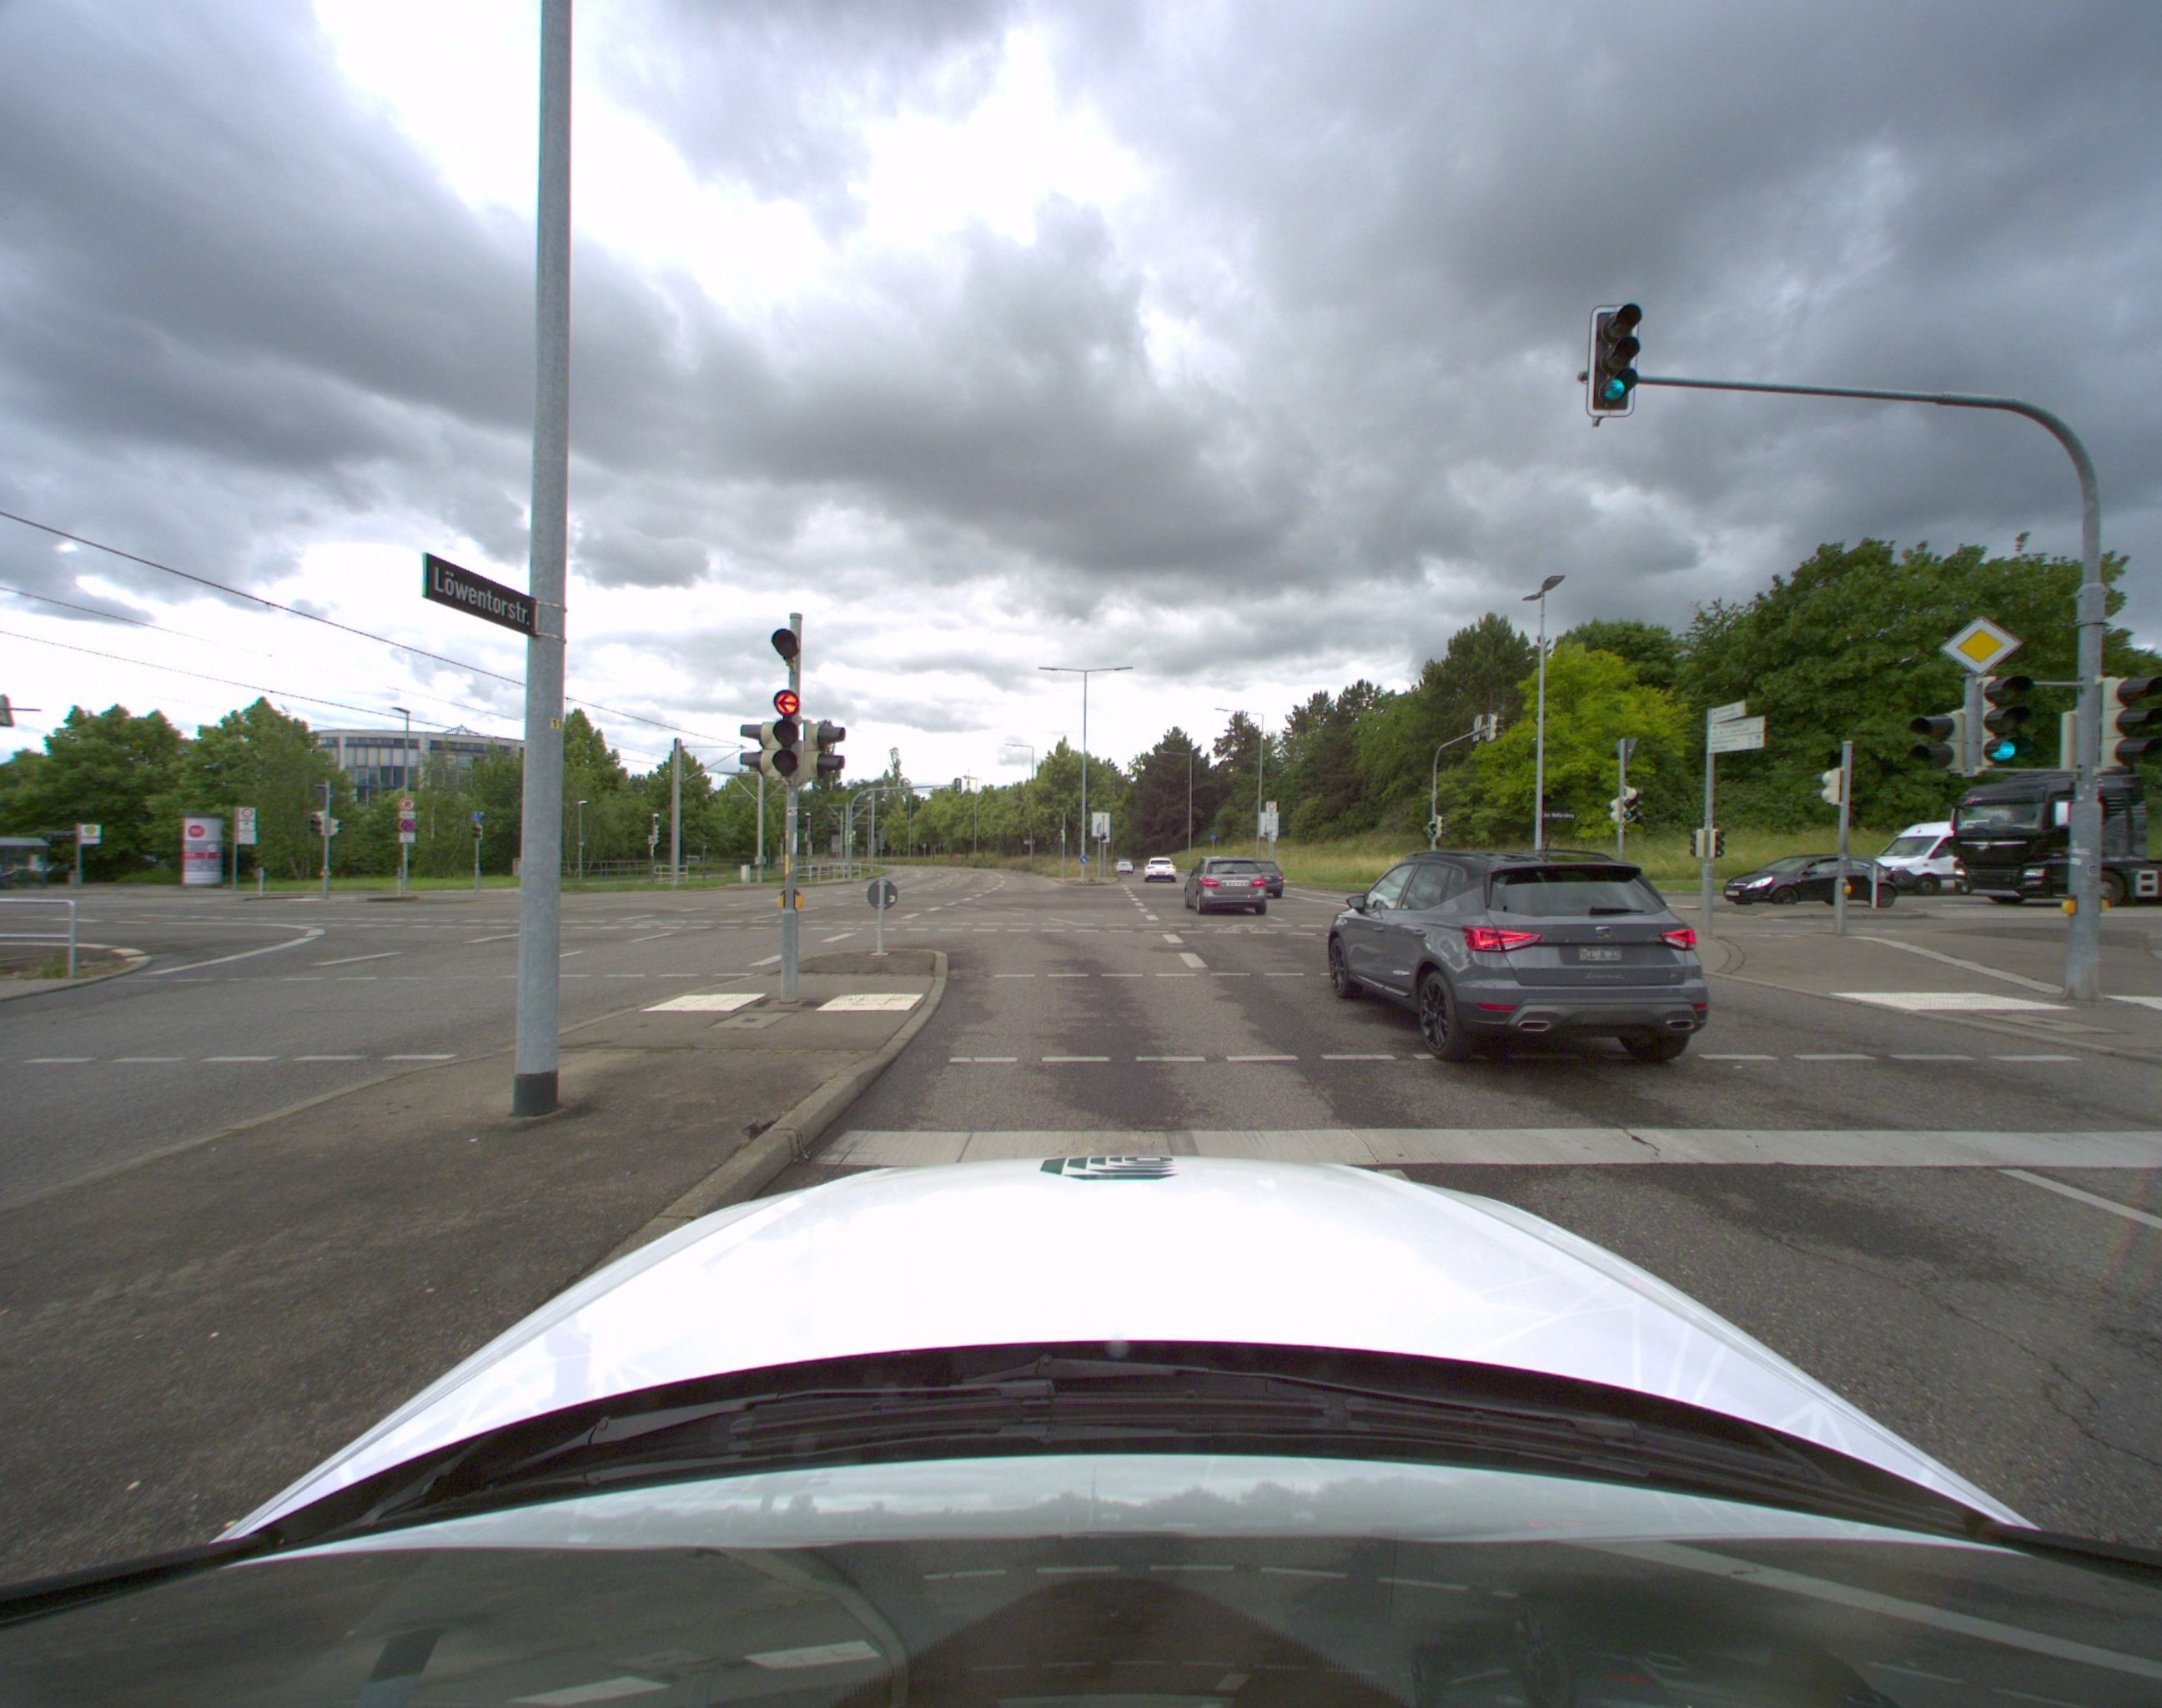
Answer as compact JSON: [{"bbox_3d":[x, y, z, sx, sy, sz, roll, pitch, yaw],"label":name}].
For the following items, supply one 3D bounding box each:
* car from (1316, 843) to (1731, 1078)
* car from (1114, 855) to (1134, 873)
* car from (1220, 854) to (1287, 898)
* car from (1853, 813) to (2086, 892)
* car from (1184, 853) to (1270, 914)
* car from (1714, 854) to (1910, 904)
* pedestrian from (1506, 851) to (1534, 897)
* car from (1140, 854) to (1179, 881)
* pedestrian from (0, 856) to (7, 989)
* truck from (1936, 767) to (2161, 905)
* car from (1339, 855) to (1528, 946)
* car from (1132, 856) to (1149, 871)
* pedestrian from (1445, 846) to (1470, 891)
[{"bbox_3d":[3.391,0.678,7.138,1.618,1.493,3.838,0,0,1],"label":"car"},{"bbox_3d":[3.833,0.892,72.867,1.587,1.516,2.765,0,-1,-1],"label":"car"},{"bbox_3d":[6.410,0.762,30.741,1.740,1.485,4.358,0,1,2],"label":"car"},{"bbox_3d":[31.207,-0.038,28.761,5.780,2.630,2.002,0,-1,3],"label":"car"},{"bbox_3d":[3.914,0.746,22.426,1.740,1.508,4.049,0,0,1],"label":"car"},{"bbox_3d":[20.295,0.680,22.749,3.859,1.338,1.698,0,-1,4],"label":"car"},{"bbox_3d":[15.570,0.690,28.883,0.640,1.612,0.715,0,-1,7],"label":"pedestrian"},{"bbox_3d":[4.600,0.788,48.274,1.839,1.506,4.529,0,-1,-1],"label":"car"},{"bbox_3d":[-12.835,0.796,9.119,0.632,1.536,0.719,0,-1,-2],"label":"pedestrian"},{"bbox_3d":[27.932,-0.479,22.283,5.971,3.486,2.694,-1,-1,4],"label":"truck"},{"bbox_3d":[6.225,0.737,14.960,1.740,1.382,4.292,0,0,2],"label":"car"},{"bbox_3d":[6.083,0.954,83.891,1.607,1.453,3.883,0,-1,2],"label":"car"},{"bbox_3d":[13.920,0.527,30.133,0.640,1.662,0.715,0,-1,8],"label":"pedestrian"}]
